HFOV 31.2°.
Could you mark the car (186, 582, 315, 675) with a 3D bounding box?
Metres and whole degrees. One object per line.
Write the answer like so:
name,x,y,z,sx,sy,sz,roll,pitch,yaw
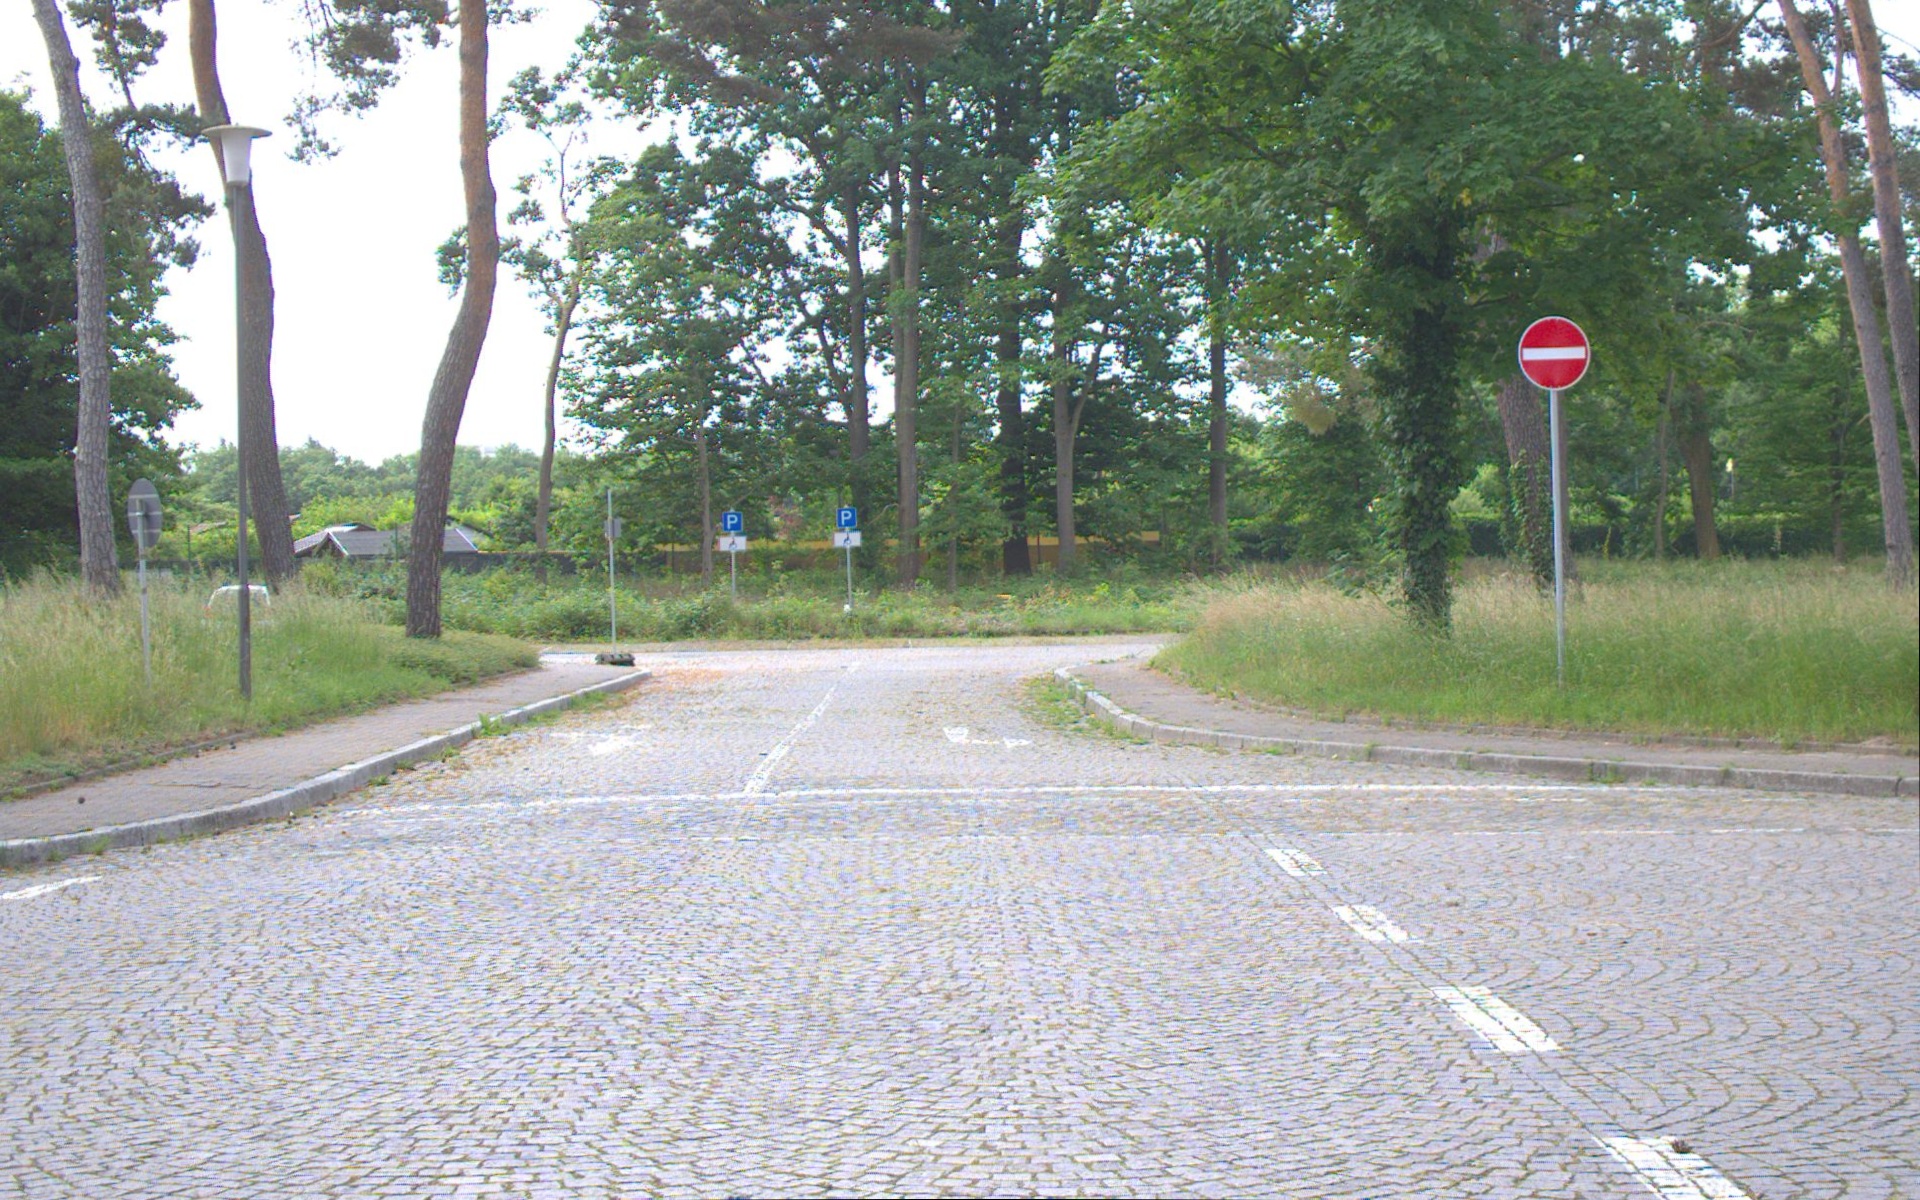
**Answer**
car,-14.535,0.561,70.588,1.993,1.840,4.000,1,0,-3
